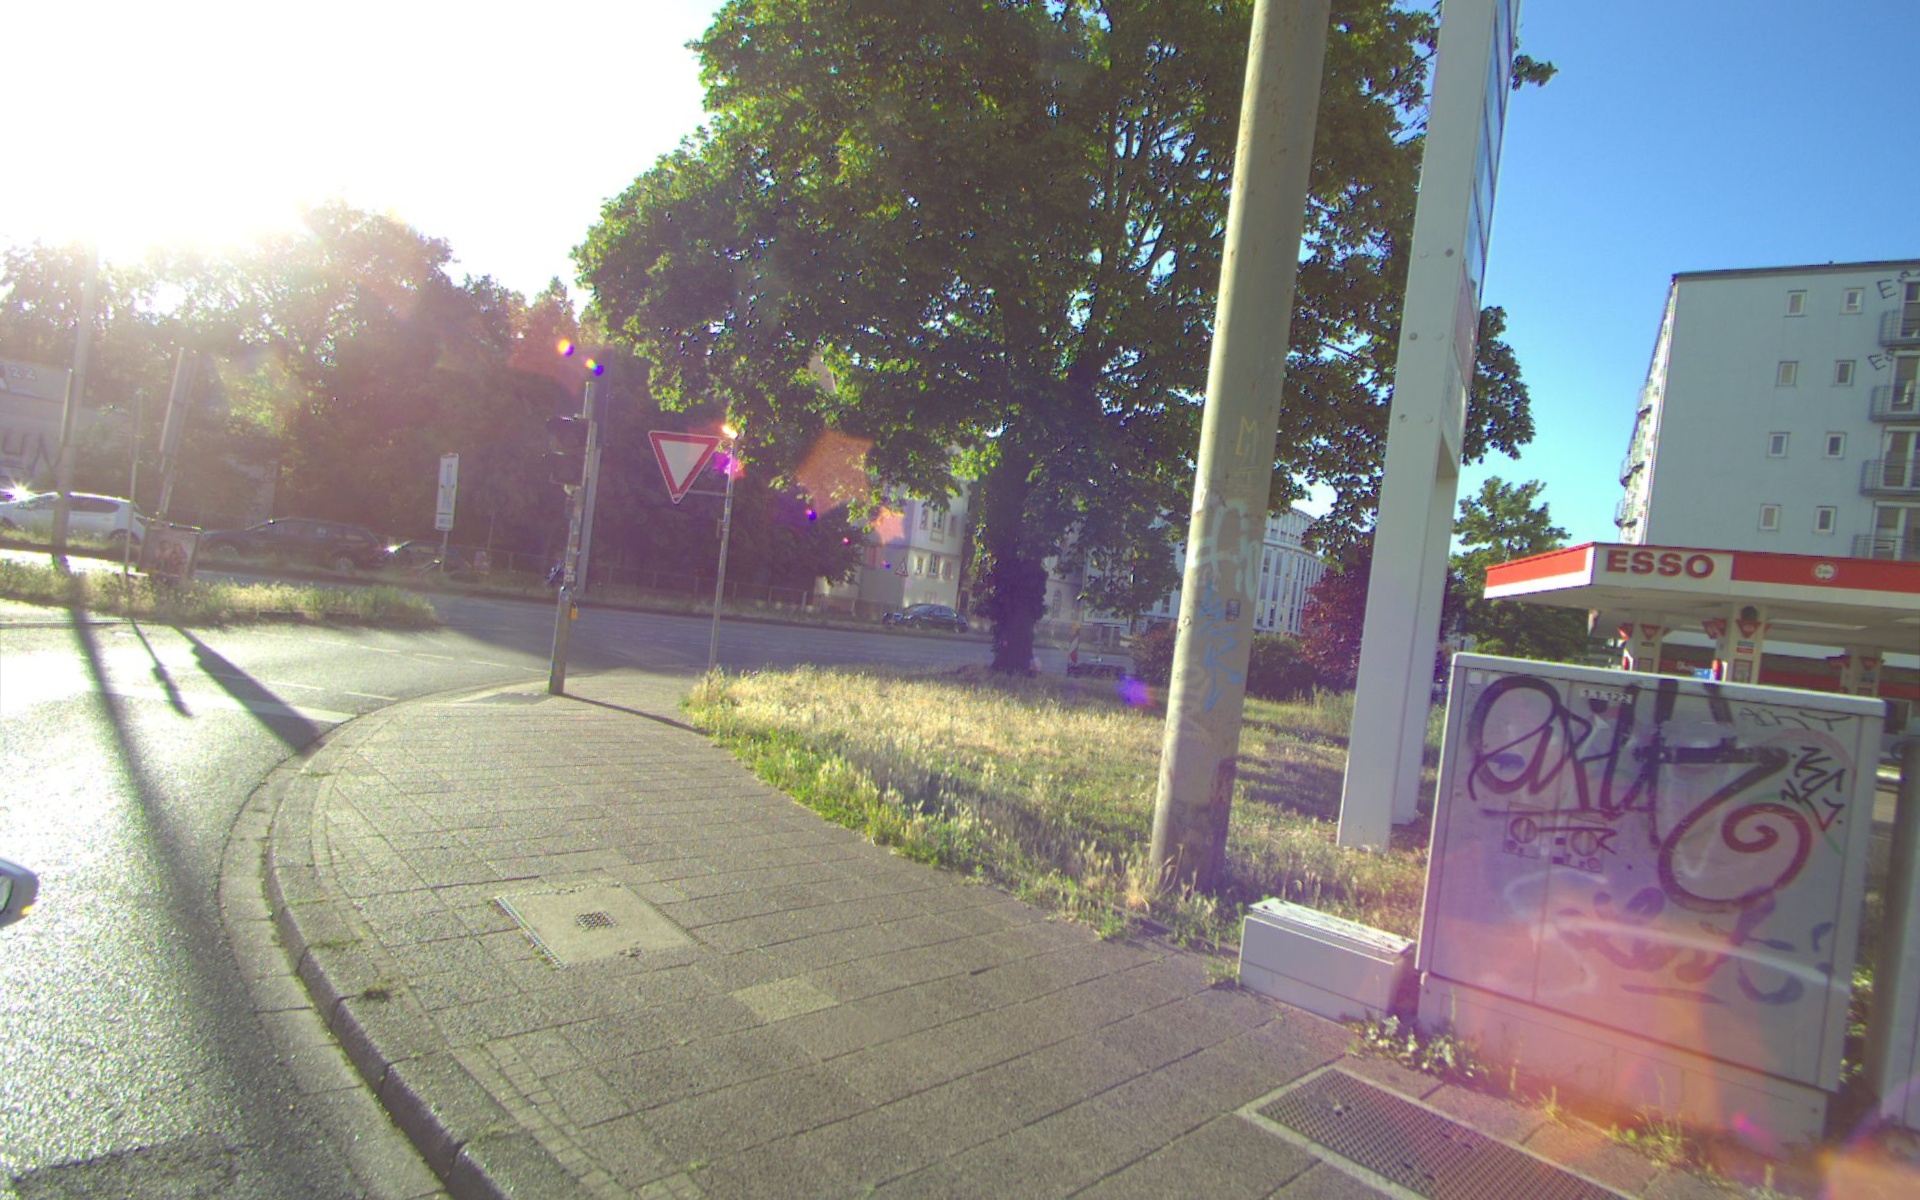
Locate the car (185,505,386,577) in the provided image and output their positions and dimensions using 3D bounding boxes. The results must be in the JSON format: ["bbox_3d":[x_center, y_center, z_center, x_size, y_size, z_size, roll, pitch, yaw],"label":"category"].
[{"bbox_3d":[-18.269,-1.570,27.355,4.343,1.312,1.705,8,0,-39],"label":"car"}]

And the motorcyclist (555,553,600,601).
[{"bbox_3d":[-12.555,-0.759,33.001,1.053,1.415,0.845,7,0,-39],"label":"motorcyclist"}]

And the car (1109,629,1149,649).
[{"bbox_3d":[20.606,4.731,122.816,4.315,1.854,1.999,7,0,25],"label":"car"}]

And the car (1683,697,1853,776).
[{"bbox_3d":[21.346,3.553,26.810,1.962,1.371,3.999,7,1,16],"label":"car"}]

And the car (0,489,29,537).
[{"bbox_3d":[-29.259,-2.738,28.645,3.867,1.312,1.704,8,0,-42],"label":"car"}]

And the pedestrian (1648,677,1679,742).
[{"bbox_3d":[19.392,3.000,27.743,0.413,1.726,0.420,7,1,16],"label":"pedestrian"}]

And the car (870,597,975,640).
[{"bbox_3d":[-1.810,0.951,50.177,1.974,1.514,5.262,7,-1,44],"label":"car"}]

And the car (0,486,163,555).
[{"bbox_3d":[-24.153,-2.162,27.254,3.867,1.335,1.704,8,0,-42],"label":"car"}]

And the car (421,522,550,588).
[{"bbox_3d":[-17.850,-1.642,37.910,3.967,1.814,1.733,9,-3,-36],"label":"car"}]

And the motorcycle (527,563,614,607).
[{"bbox_3d":[-12.728,-0.482,32.923,2.451,1.121,0.852,7,0,-40],"label":"motorcycle"}]

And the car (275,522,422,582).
[{"bbox_3d":[-21.225,-1.653,35.015,1.835,1.482,3.978,8,0,44],"label":"car"}]
